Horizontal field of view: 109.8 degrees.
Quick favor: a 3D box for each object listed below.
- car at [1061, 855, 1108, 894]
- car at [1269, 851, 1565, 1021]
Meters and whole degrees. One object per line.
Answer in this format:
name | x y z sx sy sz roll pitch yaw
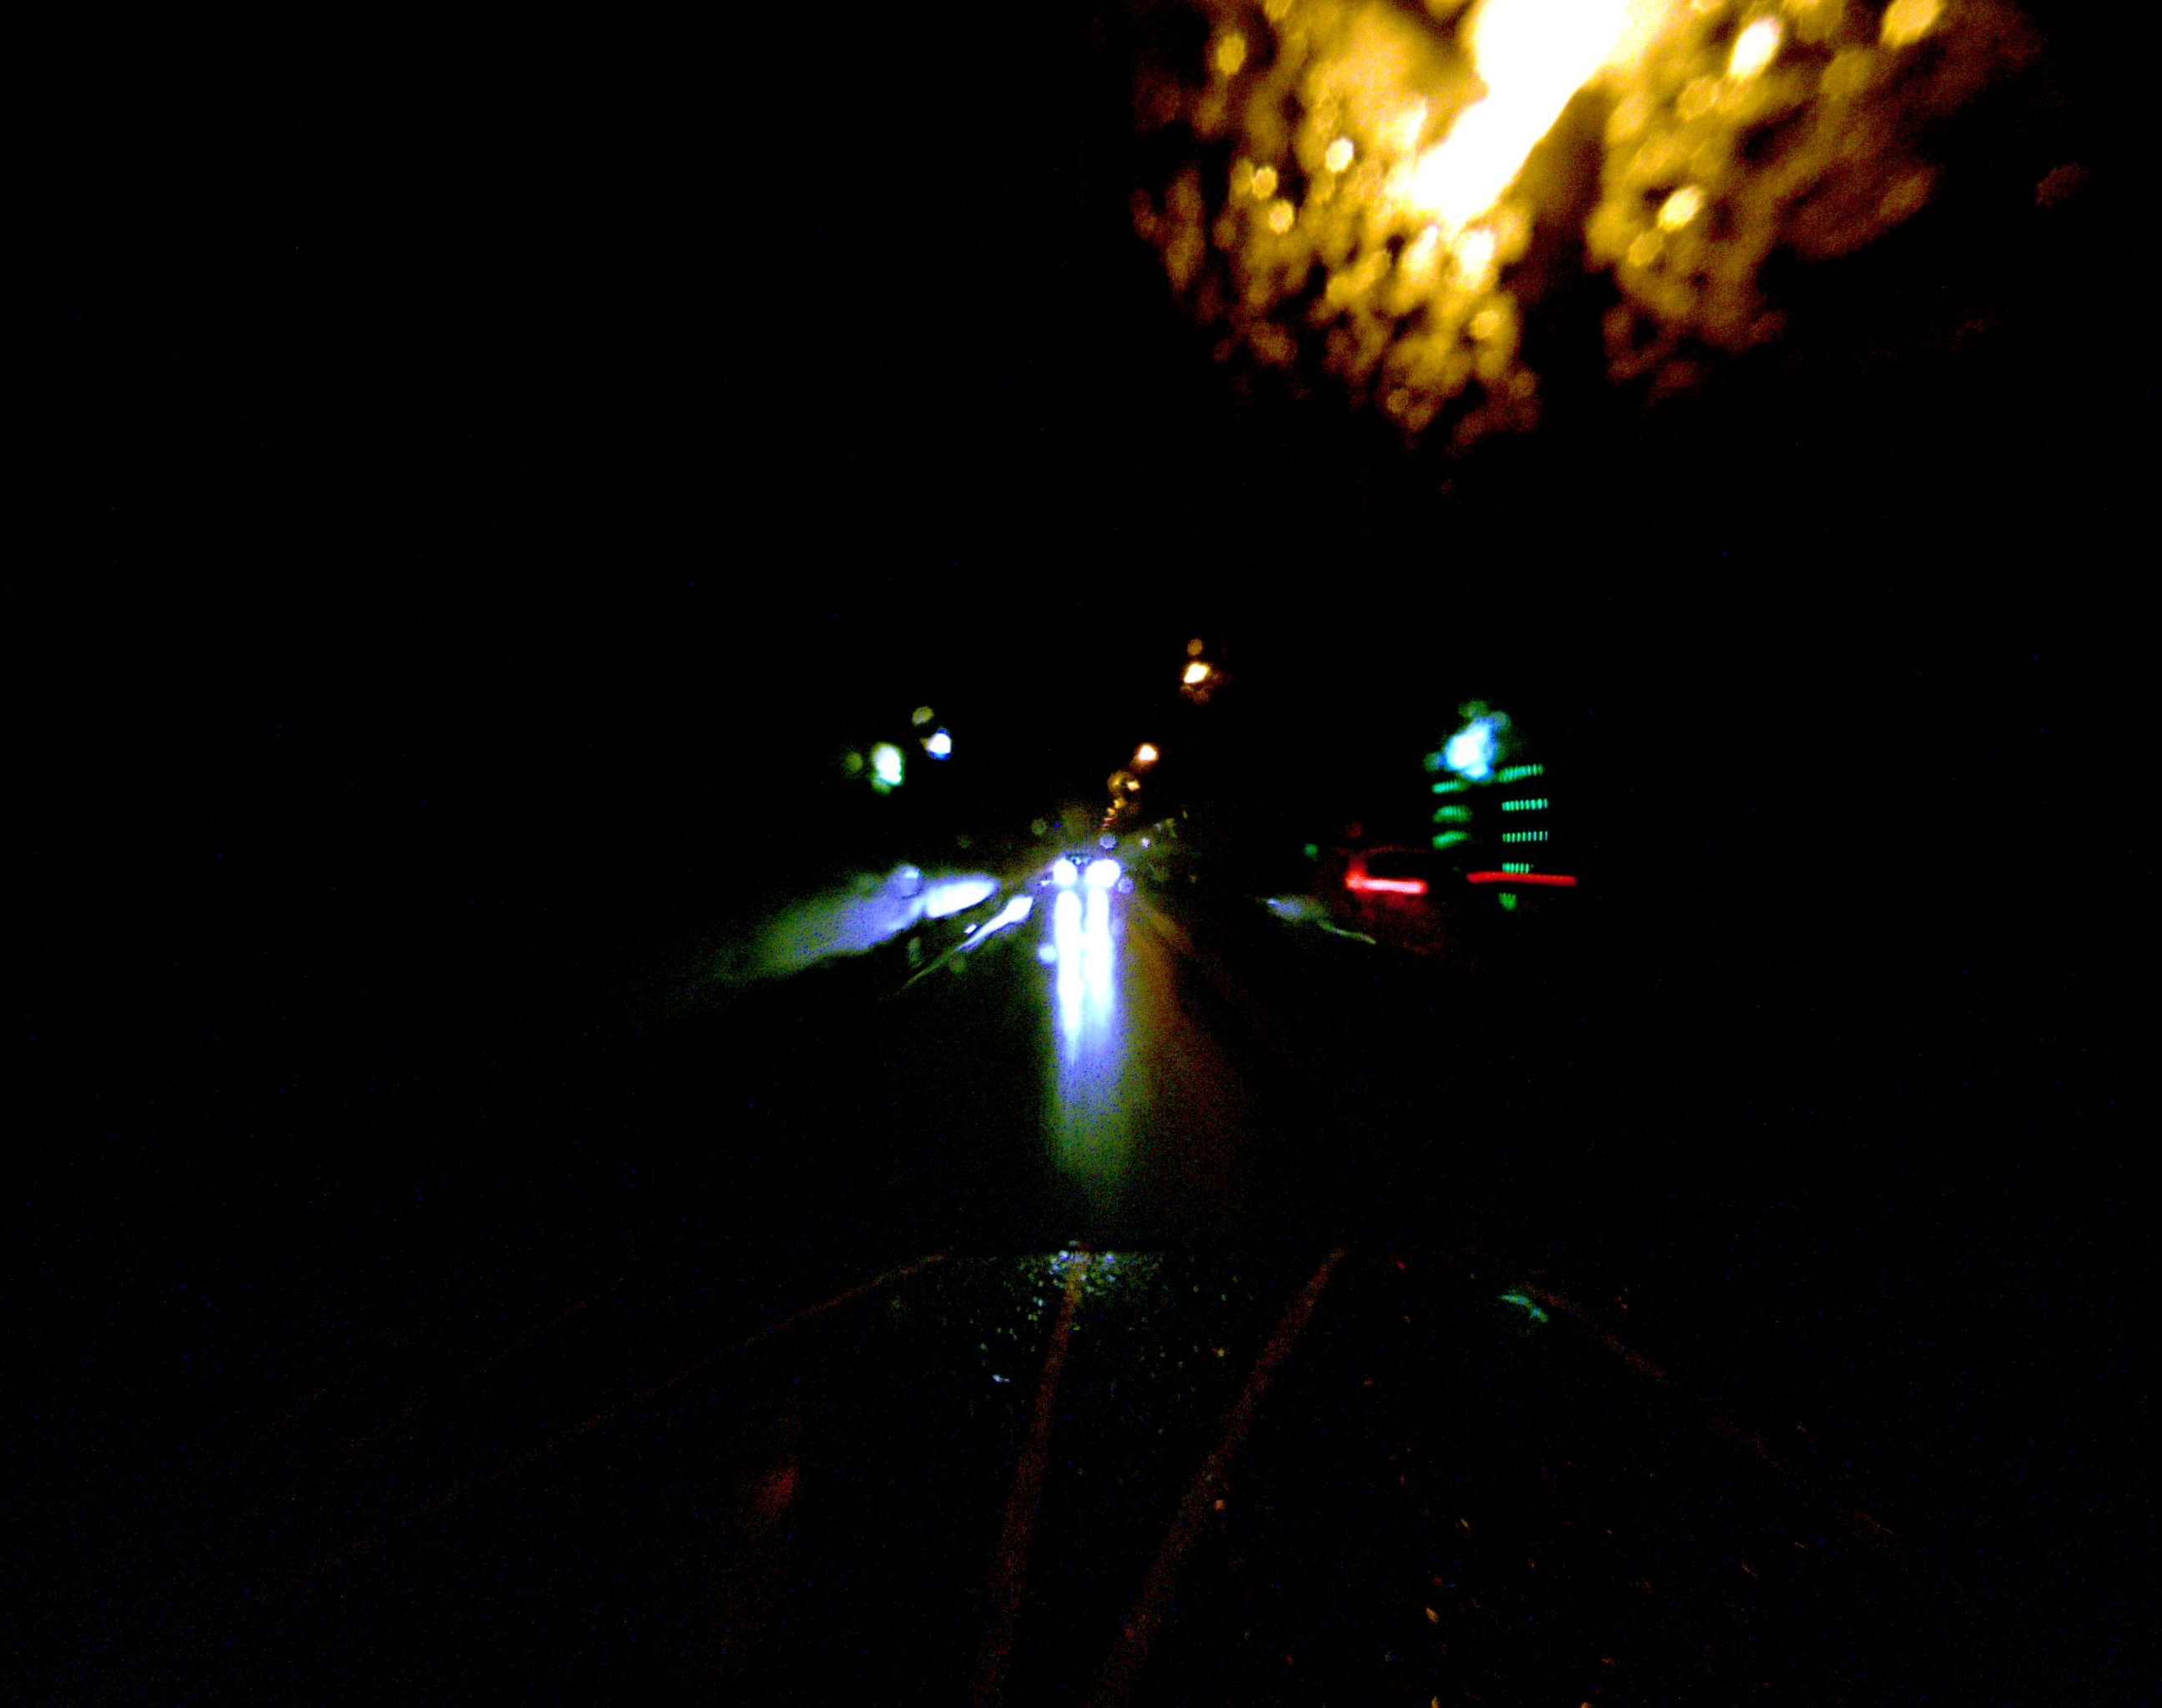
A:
car | 0.155 0.912 35.664 1.998 1.547 3.999 -3 2 0
car | 3.463 0.728 8.648 1.695 1.496 3.744 -1 0 0
